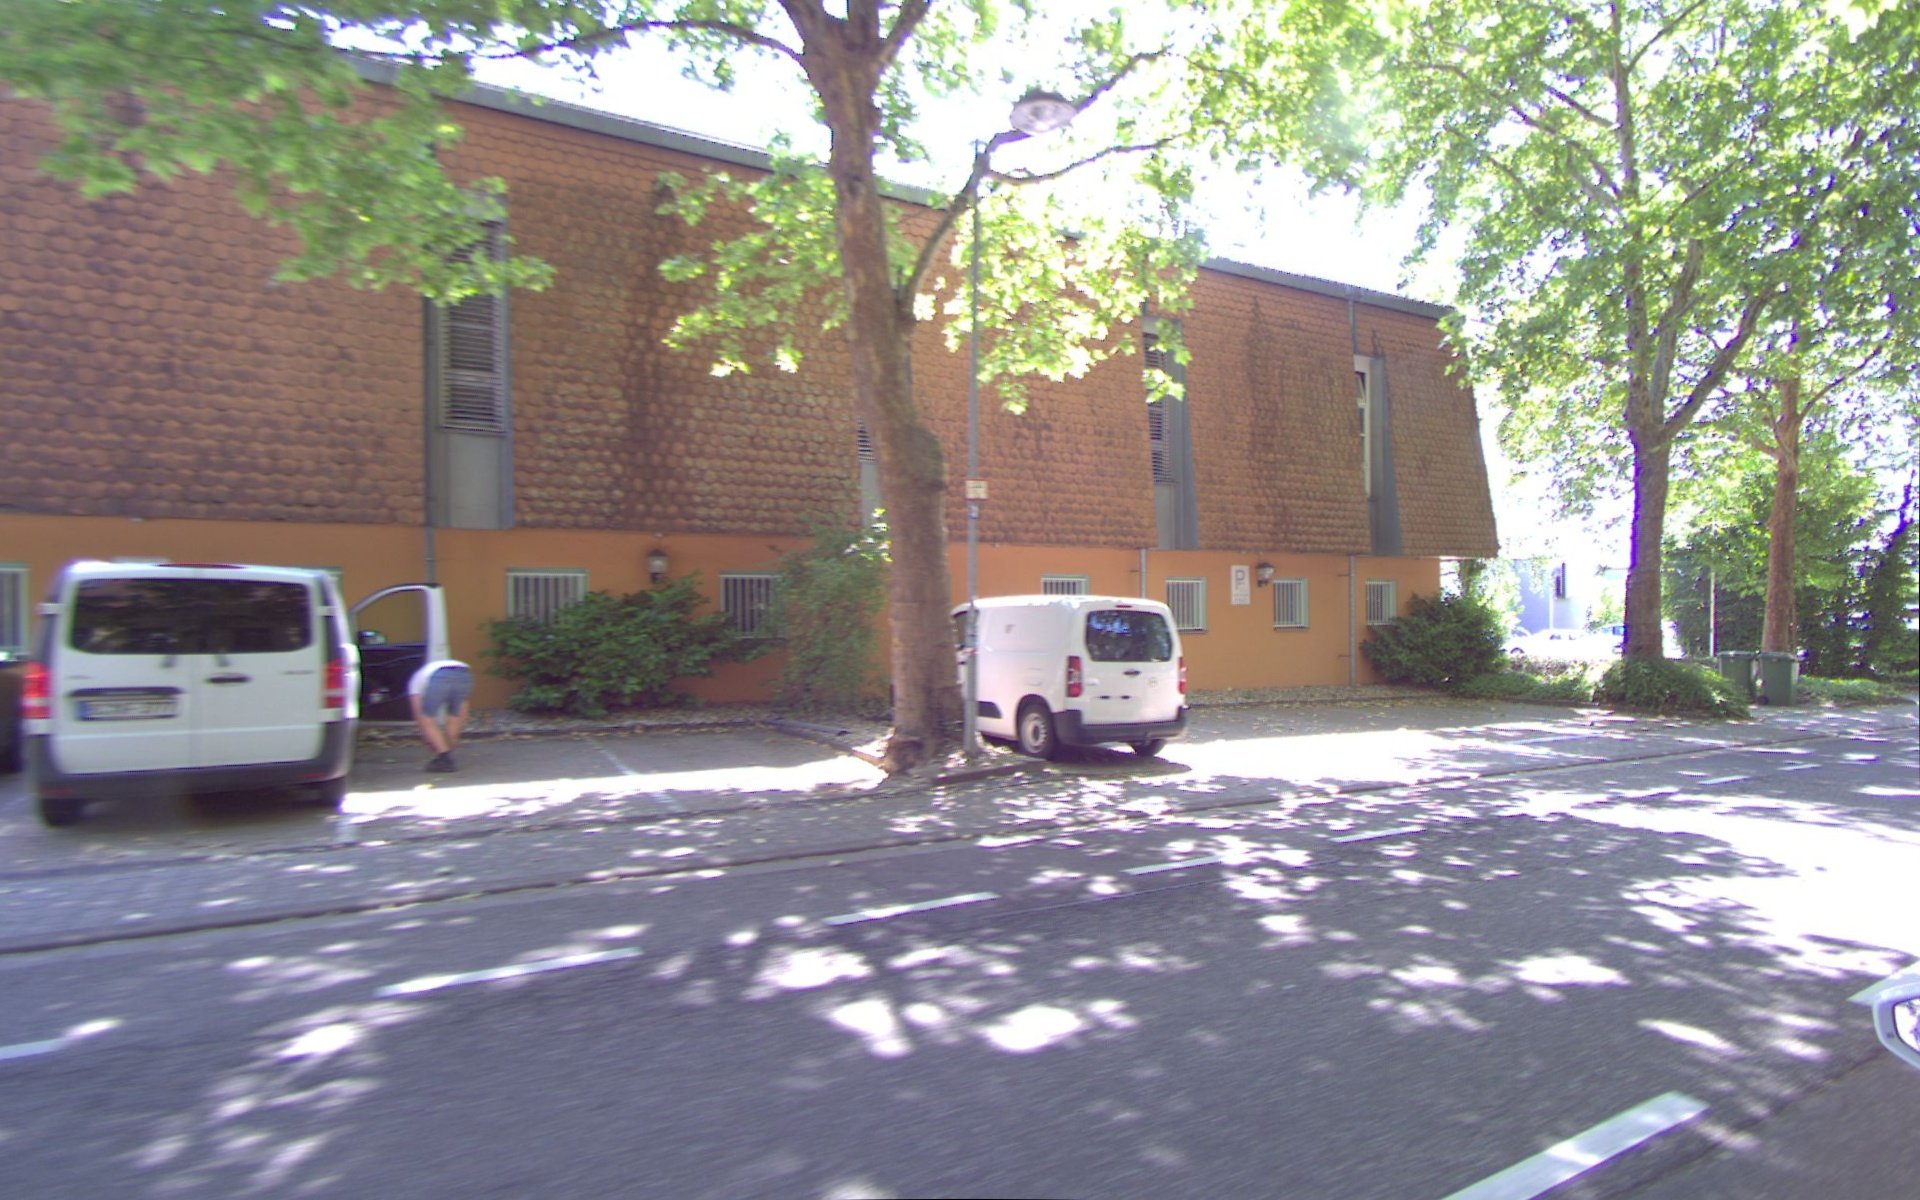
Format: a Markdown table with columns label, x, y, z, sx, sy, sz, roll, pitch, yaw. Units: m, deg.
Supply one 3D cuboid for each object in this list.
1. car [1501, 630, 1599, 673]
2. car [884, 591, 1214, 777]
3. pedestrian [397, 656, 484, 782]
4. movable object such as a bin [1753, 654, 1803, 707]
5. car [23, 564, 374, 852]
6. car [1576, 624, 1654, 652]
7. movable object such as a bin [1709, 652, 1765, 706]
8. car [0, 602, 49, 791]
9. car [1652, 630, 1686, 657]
| label | x | y | z | sx | sy | sz | roll | pitch | yaw |
| --- | --- | --- | --- | --- | --- | --- | --- | --- | --- |
| car | 29.919 | 2.618 | 51.018 | 3.946 | 2.040 | 1.988 | -1 | -3 | 45 |
| car | 0.880 | 0.844 | 12.216 | 1.882 | 1.828 | 4.105 | 2 | 0 | -32 |
| pedestrian | -4.907 | 1.092 | 9.474 | 0.683 | 1.095 | 0.764 | 1 | -2 | -30 |
| movable object such as a bin | 16.856 | 1.644 | 20.704 | 0.613 | 1.062 | 0.621 | 1 | -1 | -30 |
| car | -6.273 | 0.689 | 8.740 | 1.882 | 1.828 | 4.399 | 2 | 0 | -32 |
| car | 38.560 | 2.221 | 59.158 | 3.711 | 1.606 | 1.599 | -1 | -2 | 39 |
| movable object such as a bin | 16.490 | 1.660 | 21.323 | 0.693 | 1.092 | 0.731 | 1 | -2 | -30 |
| car | -8.423 | 0.788 | 7.374 | 1.848 | 1.535 | 3.965 | 2 | 0 | -32 |
| car | 44.420 | 2.728 | 62.917 | 1.581 | 1.606 | 3.754 | 0 | -3 | 38 |
